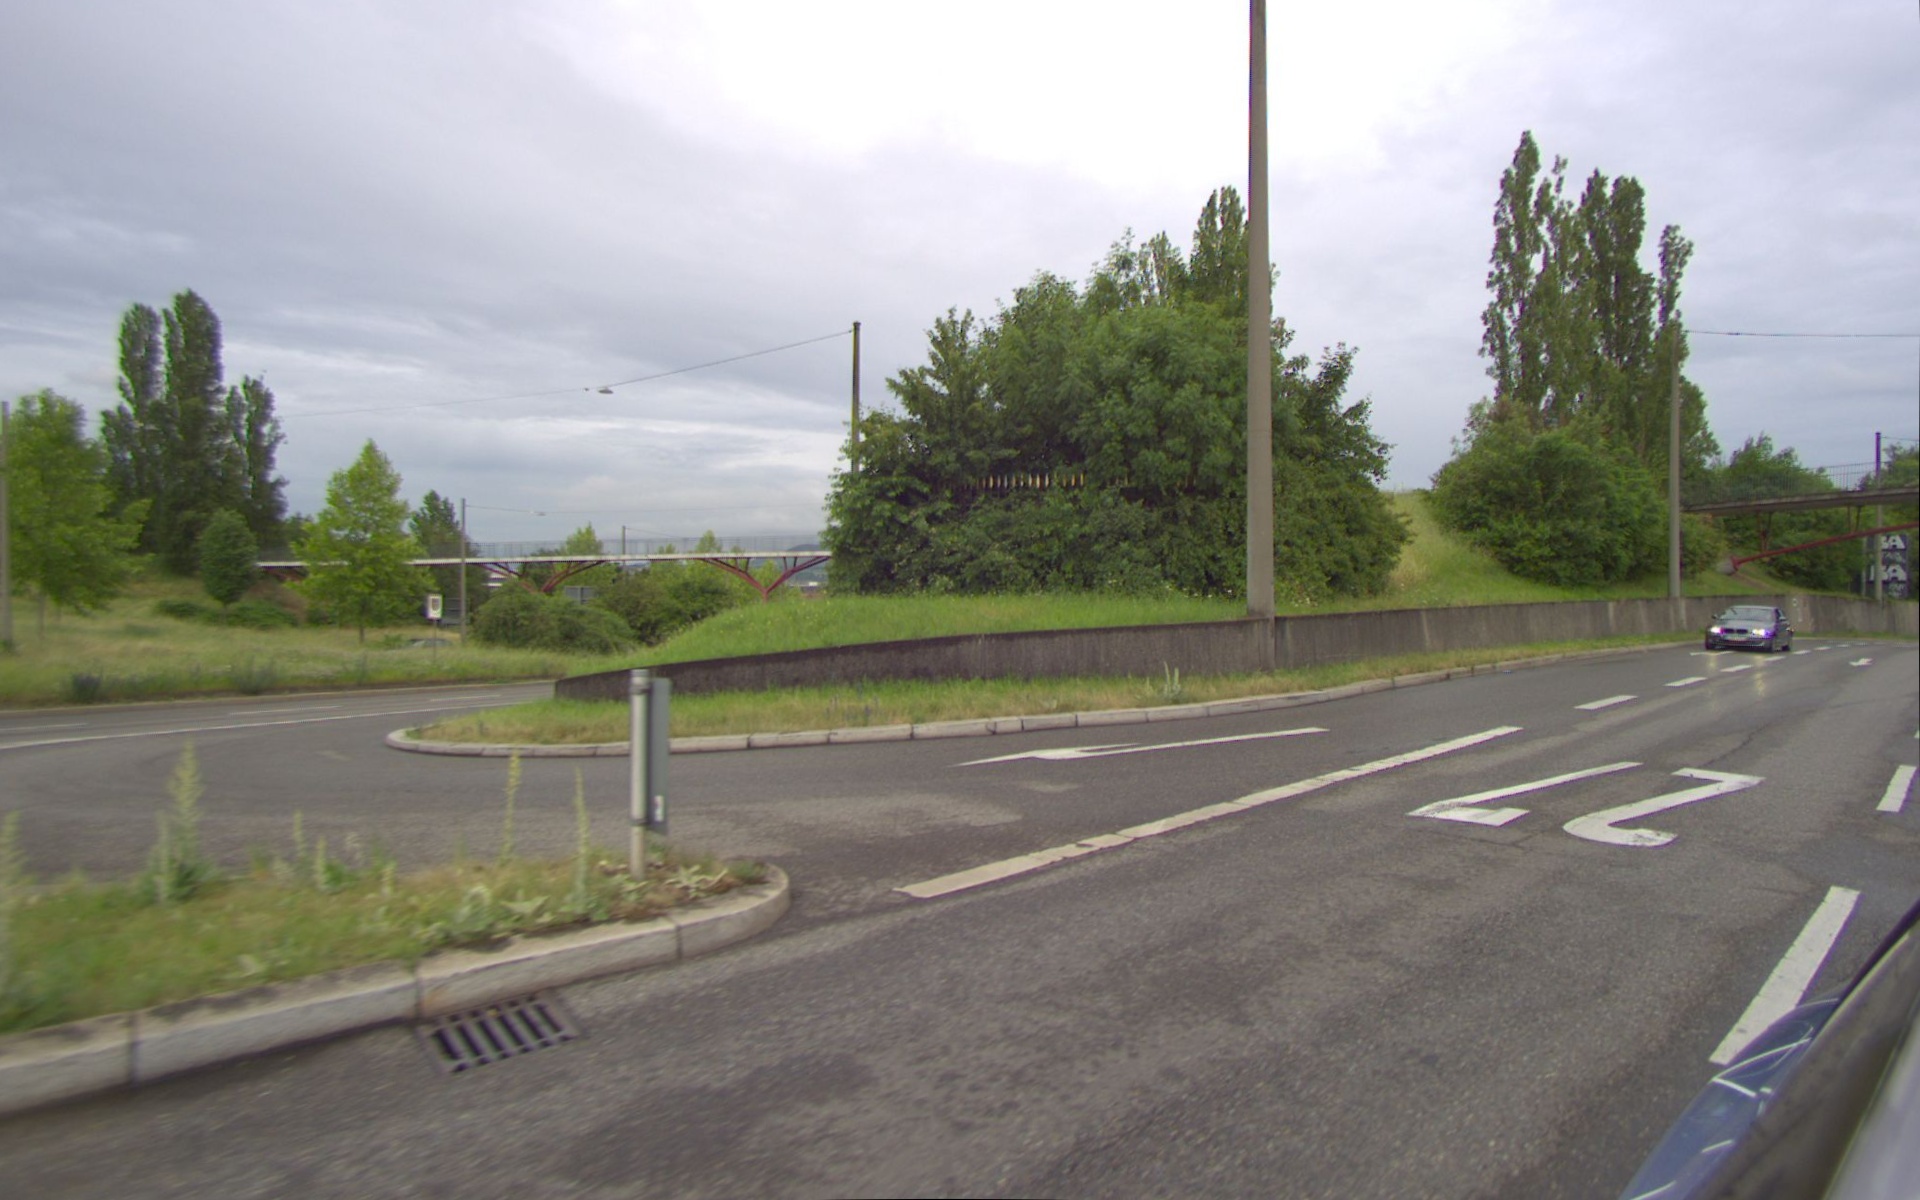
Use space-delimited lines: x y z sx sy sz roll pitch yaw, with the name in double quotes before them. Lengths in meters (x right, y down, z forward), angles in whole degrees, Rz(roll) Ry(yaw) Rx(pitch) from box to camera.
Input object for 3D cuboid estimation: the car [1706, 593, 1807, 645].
"car" 25.043 0.589 31.783 3.930 1.529 1.808 1 0 -42
